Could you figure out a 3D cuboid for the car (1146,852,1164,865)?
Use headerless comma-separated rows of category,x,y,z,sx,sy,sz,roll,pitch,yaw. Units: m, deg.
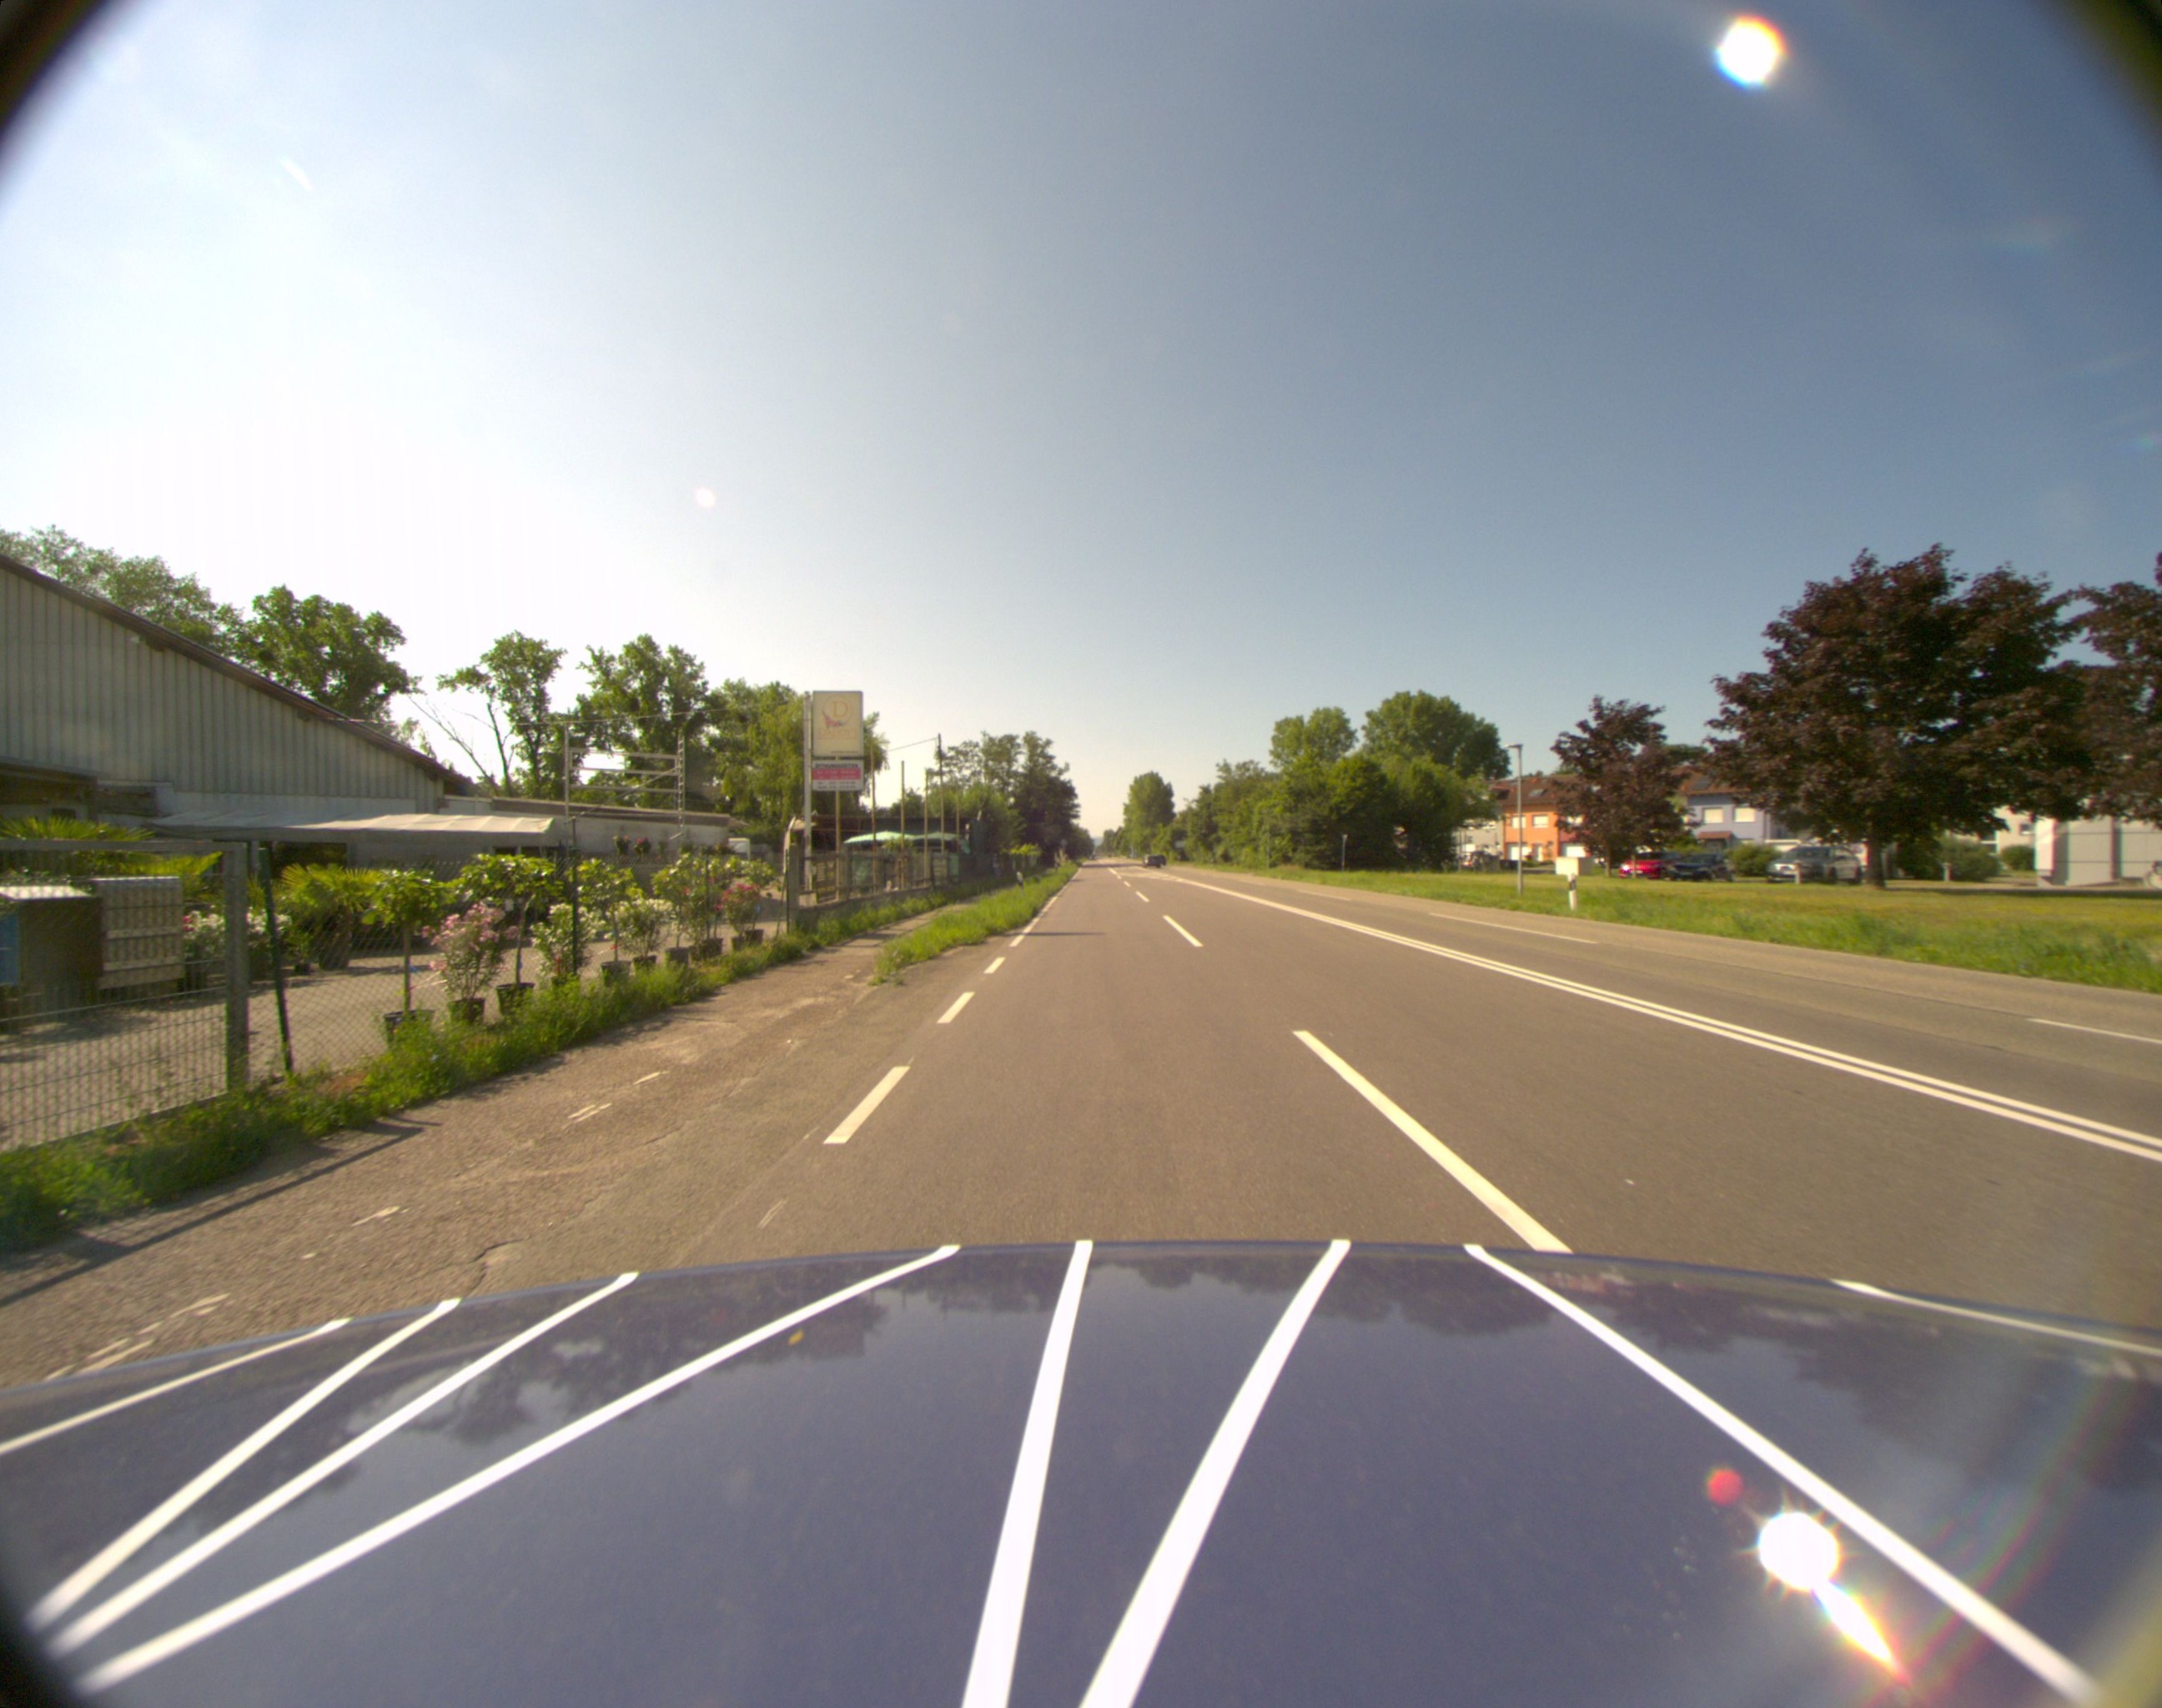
car,8.013,0.502,82.494,1.768,1.403,4.174,0,-1,2

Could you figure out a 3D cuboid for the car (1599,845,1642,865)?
car,49.394,0.093,69.565,4.006,1.574,1.995,-3,2,-36

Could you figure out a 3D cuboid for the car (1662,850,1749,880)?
car,29.544,0.500,35.935,4.006,1.362,1.818,0,-1,-29

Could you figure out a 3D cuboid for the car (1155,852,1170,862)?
car,11.272,0.415,105.663,1.768,1.403,4.001,0,-1,2

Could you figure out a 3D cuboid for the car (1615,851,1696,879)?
car,29.357,0.545,38.805,4.006,1.362,1.818,0,-1,-29

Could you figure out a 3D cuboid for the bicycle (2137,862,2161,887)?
bicycle,36.493,0.697,25.444,0.411,0.807,1.246,-1,1,-23

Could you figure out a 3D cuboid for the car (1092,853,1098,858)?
car,3.761,0.446,203.598,1.768,1.403,4.001,0,-1,2

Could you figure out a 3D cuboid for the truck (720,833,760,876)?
truck,-29.522,0.050,65.637,2.757,3.444,7.734,-3,1,-26

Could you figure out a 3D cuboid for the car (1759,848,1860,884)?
car,29.113,0.479,30.360,4.006,1.362,1.818,0,-1,-29
